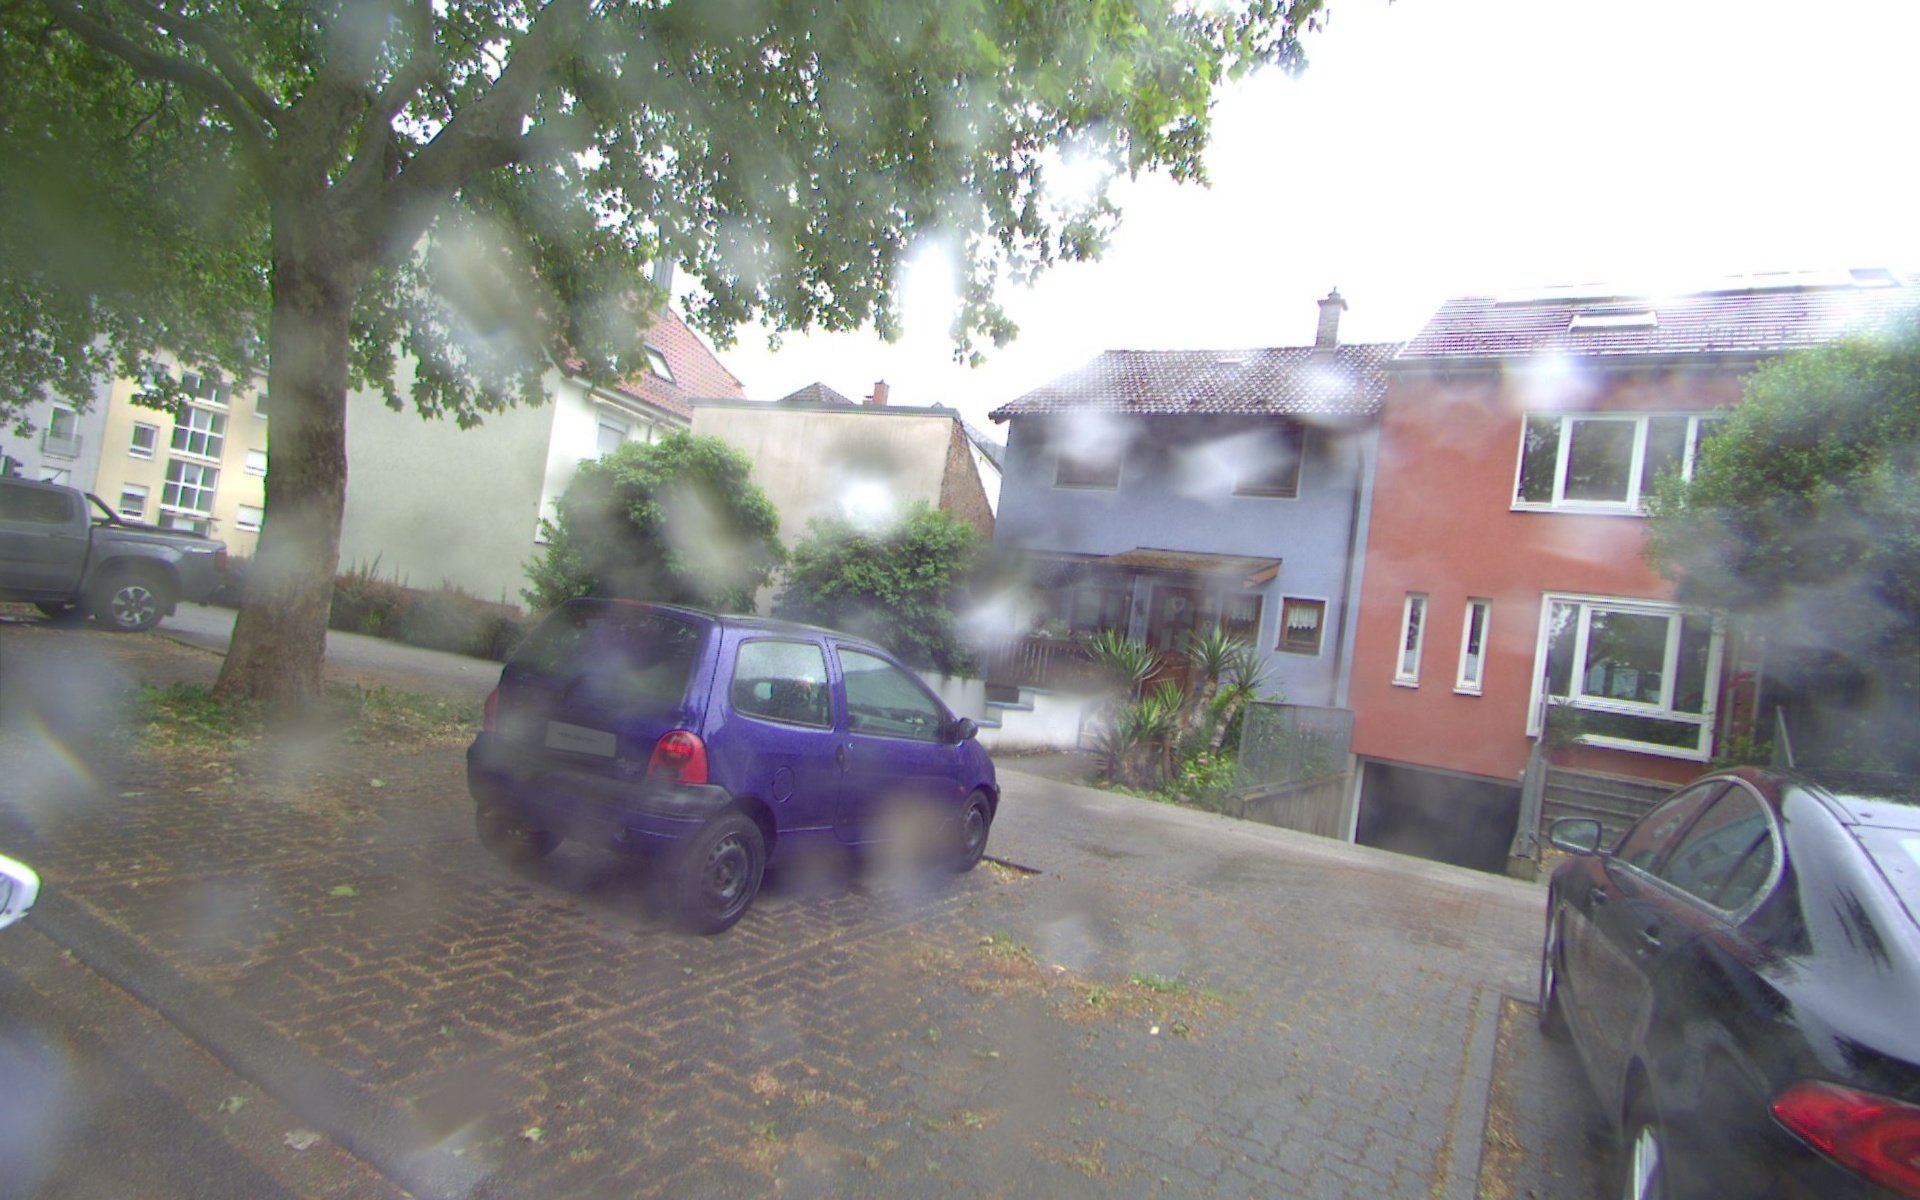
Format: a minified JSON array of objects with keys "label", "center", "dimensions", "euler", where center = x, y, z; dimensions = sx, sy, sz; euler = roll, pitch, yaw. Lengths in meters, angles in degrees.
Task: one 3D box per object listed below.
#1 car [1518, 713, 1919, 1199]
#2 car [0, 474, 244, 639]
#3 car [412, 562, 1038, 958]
[{"label":"car","center":[2.960,1.243,2.980],"dimensions":[1.903,1.489,4.781],"euler":[7,-2,27]},{"label":"car","center":[-12.367,-0.689,12.469],"dimensions":[1.812,1.827,5.357],"euler":[7,-2,25]},{"label":"car","center":[-1.059,0.815,5.944],"dimensions":[1.591,1.480,3.364],"euler":[7,-3,30]}]
